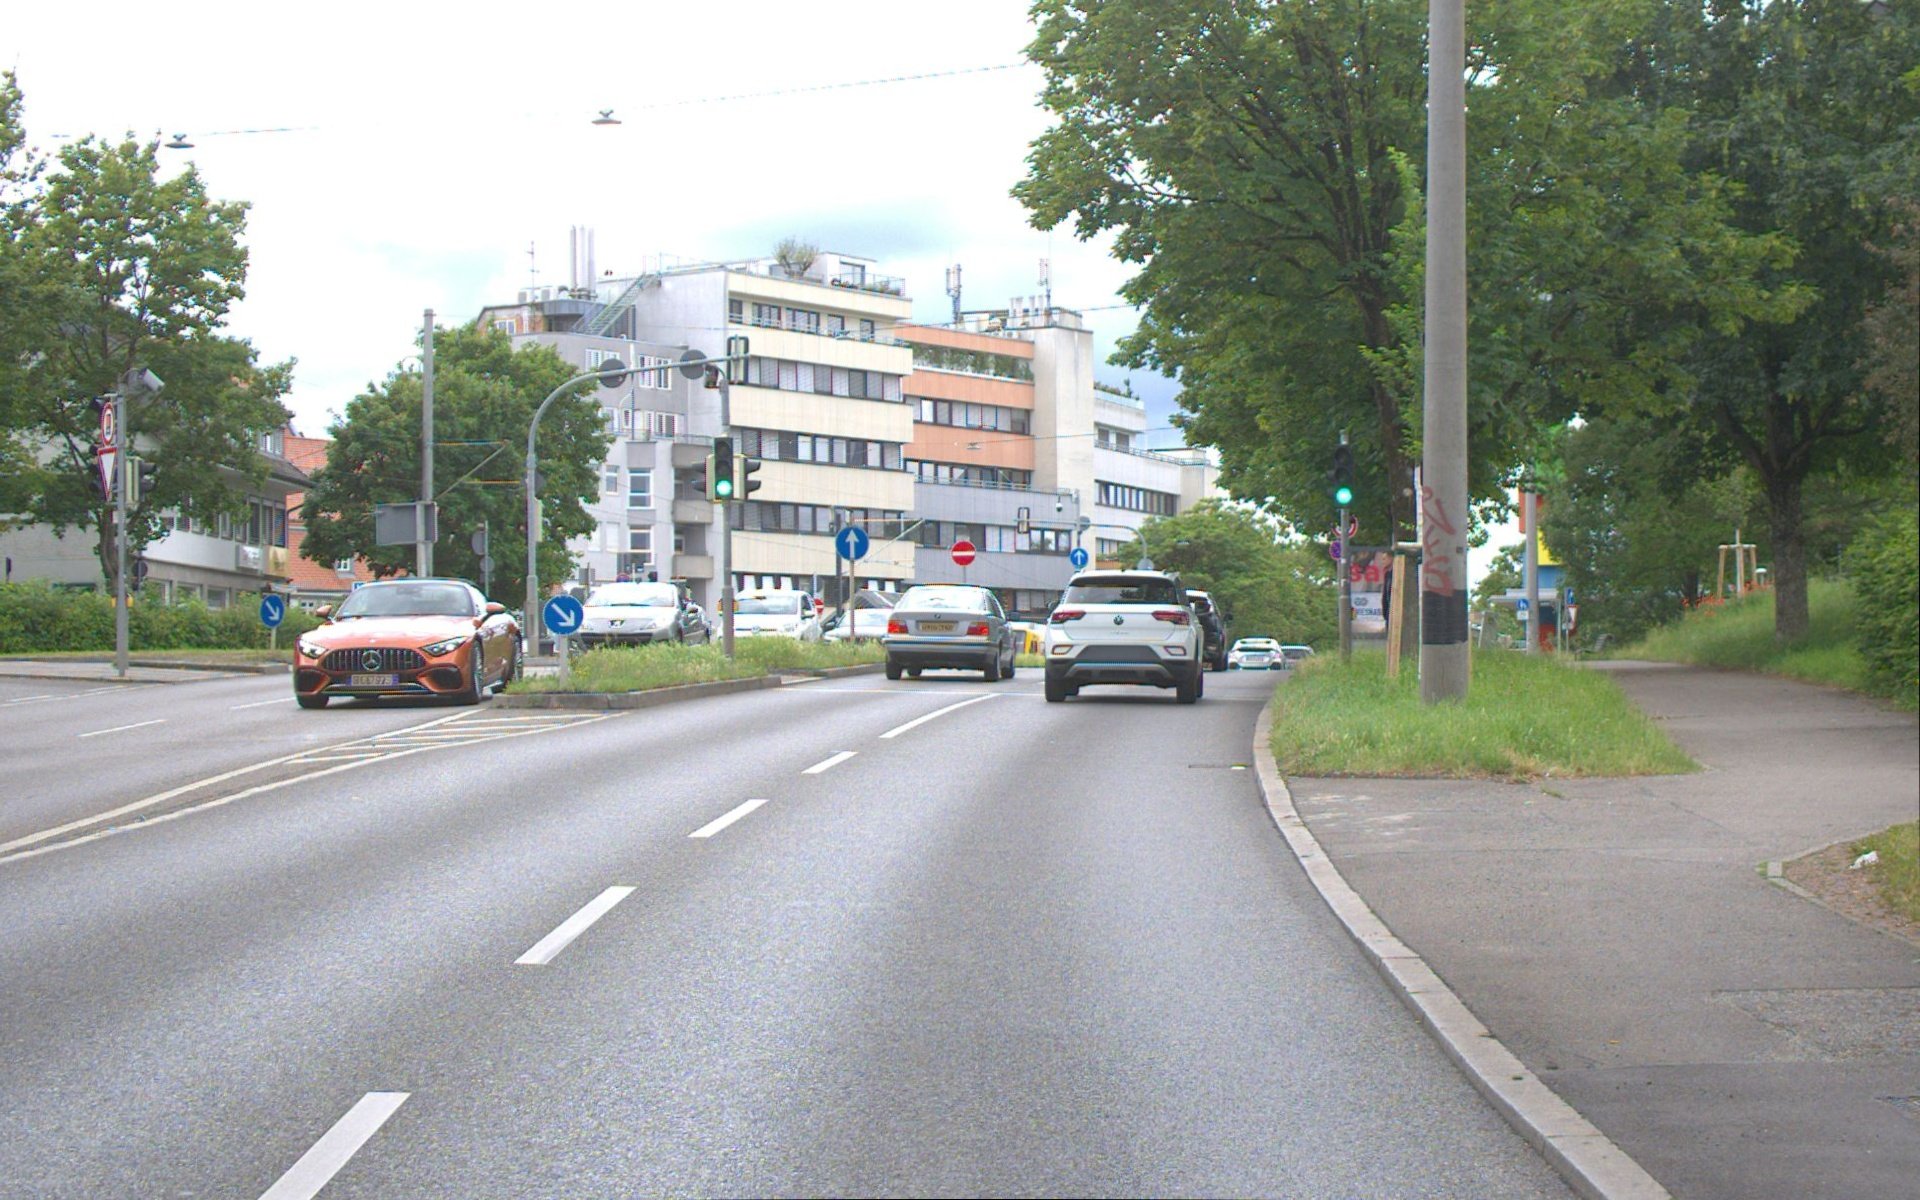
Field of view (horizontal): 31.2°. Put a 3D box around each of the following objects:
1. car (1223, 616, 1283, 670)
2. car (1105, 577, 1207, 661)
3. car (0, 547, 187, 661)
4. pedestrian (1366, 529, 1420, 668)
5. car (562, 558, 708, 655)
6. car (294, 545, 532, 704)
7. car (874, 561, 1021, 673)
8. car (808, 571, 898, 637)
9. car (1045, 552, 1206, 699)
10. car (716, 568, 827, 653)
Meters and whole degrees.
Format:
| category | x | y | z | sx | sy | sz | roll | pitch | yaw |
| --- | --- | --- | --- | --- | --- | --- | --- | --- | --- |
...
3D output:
| category | x | y | z | sx | sy | sz | roll | pitch | yaw |
| --- | --- | --- | --- | --- | --- | --- | --- | --- | --- |
| car | 9.265 | 1.356 | 108.959 | 1.770 | 1.565 | 4.284 | 0 | 1 | 4 |
| car | 3.599 | 0.346 | 63.649 | 1.700 | 1.511 | 3.493 | 0 | 0 | 0 |
| car | -12.948 | 0.039 | 47.793 | 1.780 | 1.539 | 3.990 | 1 | 1 | 43 |
| pedestrian | 5.819 | -0.024 | 46.192 | 0.642 | 1.849 | 0.673 | 0 | 1 | 0 |
| car | -5.069 | 0.076 | 54.066 | 1.777 | 1.476 | 3.980 | 0 | 1 | 2 |
| car | -5.958 | 0.223 | 37.924 | 1.770 | 1.565 | 4.285 | -3 | 1 | 2 |
| car | -0.146 | 0.216 | 50.324 | 1.700 | 1.510 | 3.735 | 0 | 2 | 7 |
| car | -2.484 | 0.077 | 80.754 | 1.777 | 1.476 | 4.481 | -1 | 1 | 2 |
| car | 2.020 | 0.262 | 41.114 | 1.700 | 1.543 | 3.736 | 3 | 2 | 5 |
| car | -3.596 | 0.181 | 66.244 | 1.777 | 1.560 | 4.000 | 0 | 1 | 2 |
